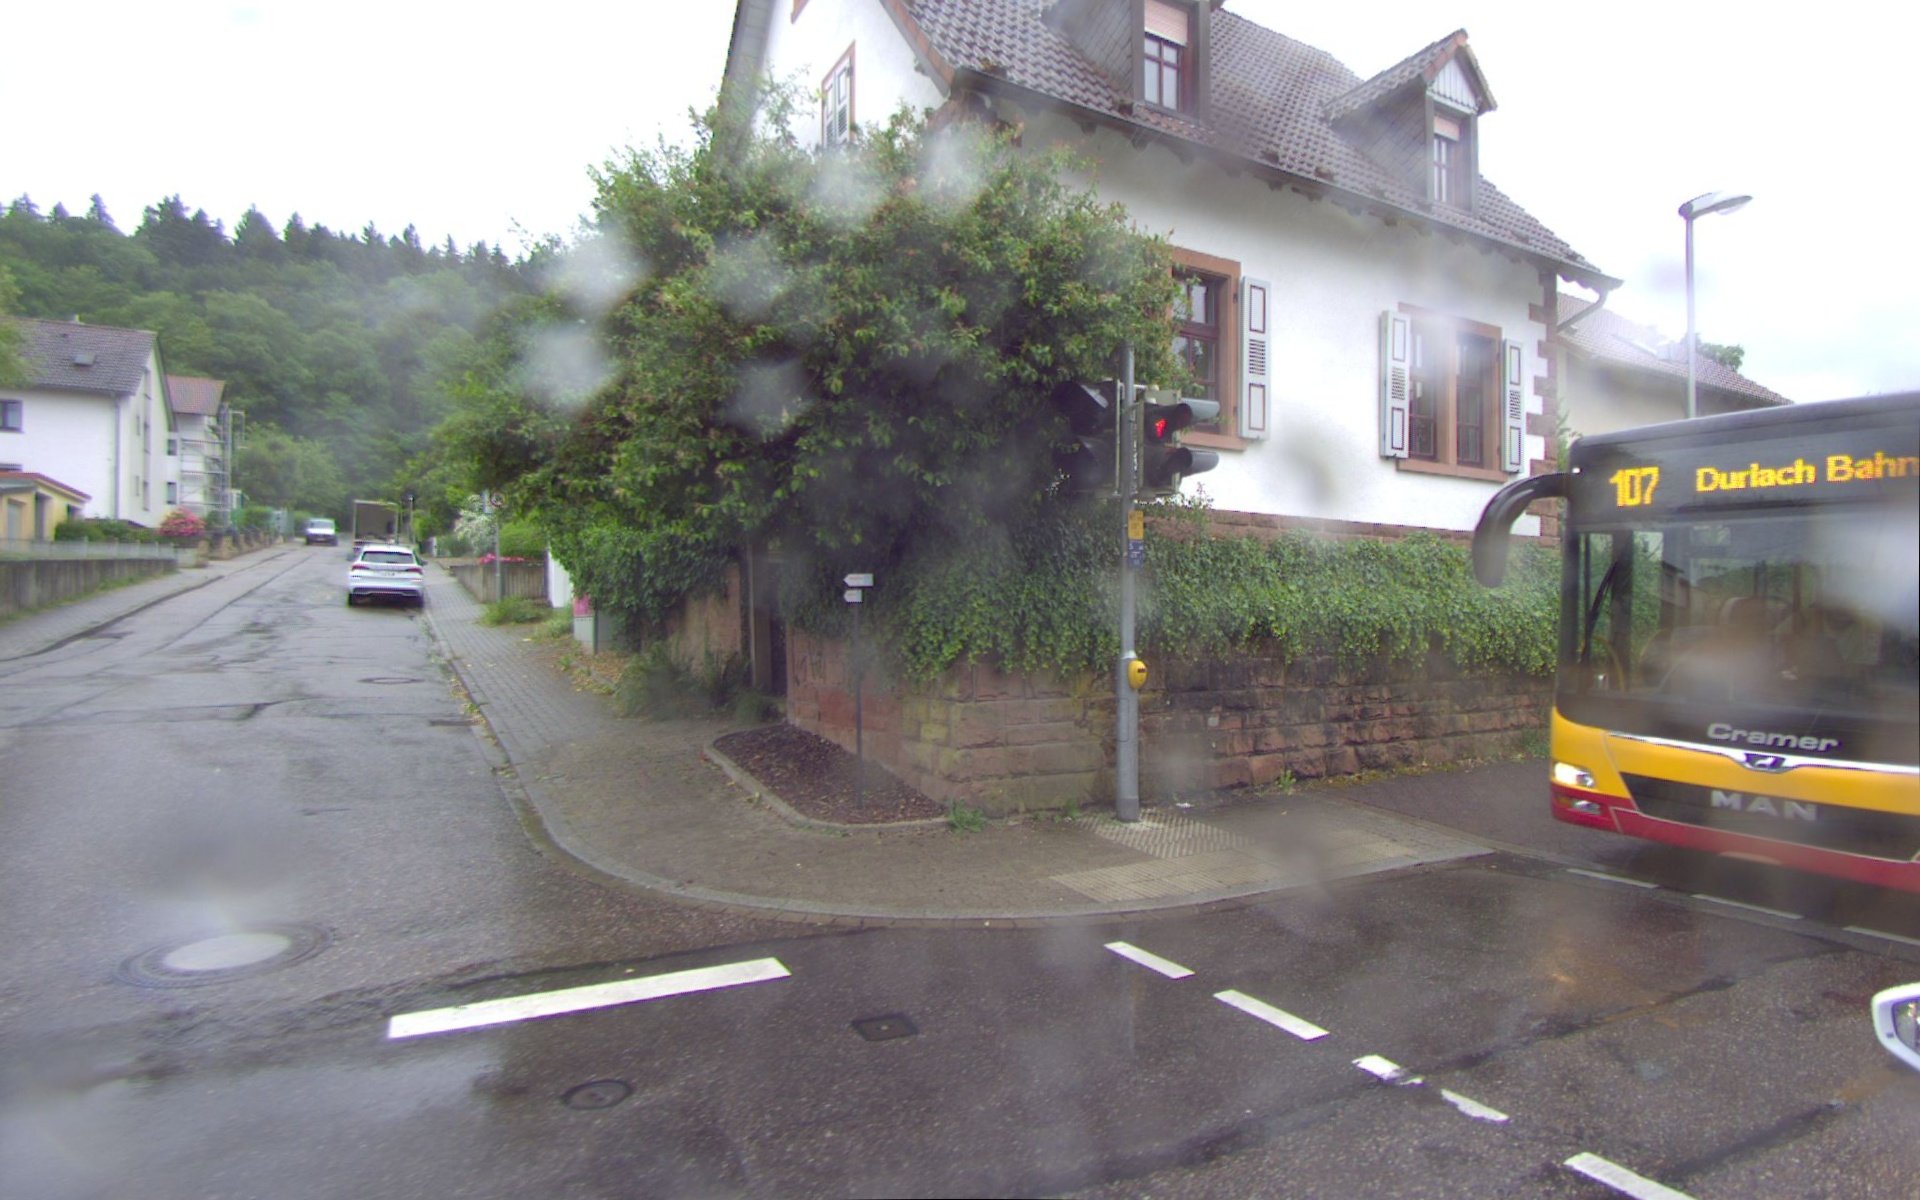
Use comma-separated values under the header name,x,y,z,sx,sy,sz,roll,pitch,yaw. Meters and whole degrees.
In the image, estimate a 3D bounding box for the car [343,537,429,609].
name,x,y,z,sx,sy,sz,roll,pitch,yaw
car,-15.463,-0.773,27.198,1.877,1.535,3.861,2,5,-29

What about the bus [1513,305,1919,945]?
name,x,y,z,sx,sy,sz,roll,pitch,yaw
bus,9.342,0.066,8.503,12.054,3.040,2.635,-1,1,-32

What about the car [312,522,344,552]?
name,x,y,z,sx,sy,sz,roll,pitch,yaw
car,-46.647,-4.637,74.165,1.896,2.040,3.963,2,2,-33

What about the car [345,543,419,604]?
name,x,y,z,sx,sy,sz,roll,pitch,yaw
car,-18.115,-0.865,31.634,1.877,1.535,3.861,2,5,-29

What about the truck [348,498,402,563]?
name,x,y,z,sx,sy,sz,roll,pitch,yaw
truck,-33.604,-3.905,57.832,2.423,3.397,6.607,1,2,-28
